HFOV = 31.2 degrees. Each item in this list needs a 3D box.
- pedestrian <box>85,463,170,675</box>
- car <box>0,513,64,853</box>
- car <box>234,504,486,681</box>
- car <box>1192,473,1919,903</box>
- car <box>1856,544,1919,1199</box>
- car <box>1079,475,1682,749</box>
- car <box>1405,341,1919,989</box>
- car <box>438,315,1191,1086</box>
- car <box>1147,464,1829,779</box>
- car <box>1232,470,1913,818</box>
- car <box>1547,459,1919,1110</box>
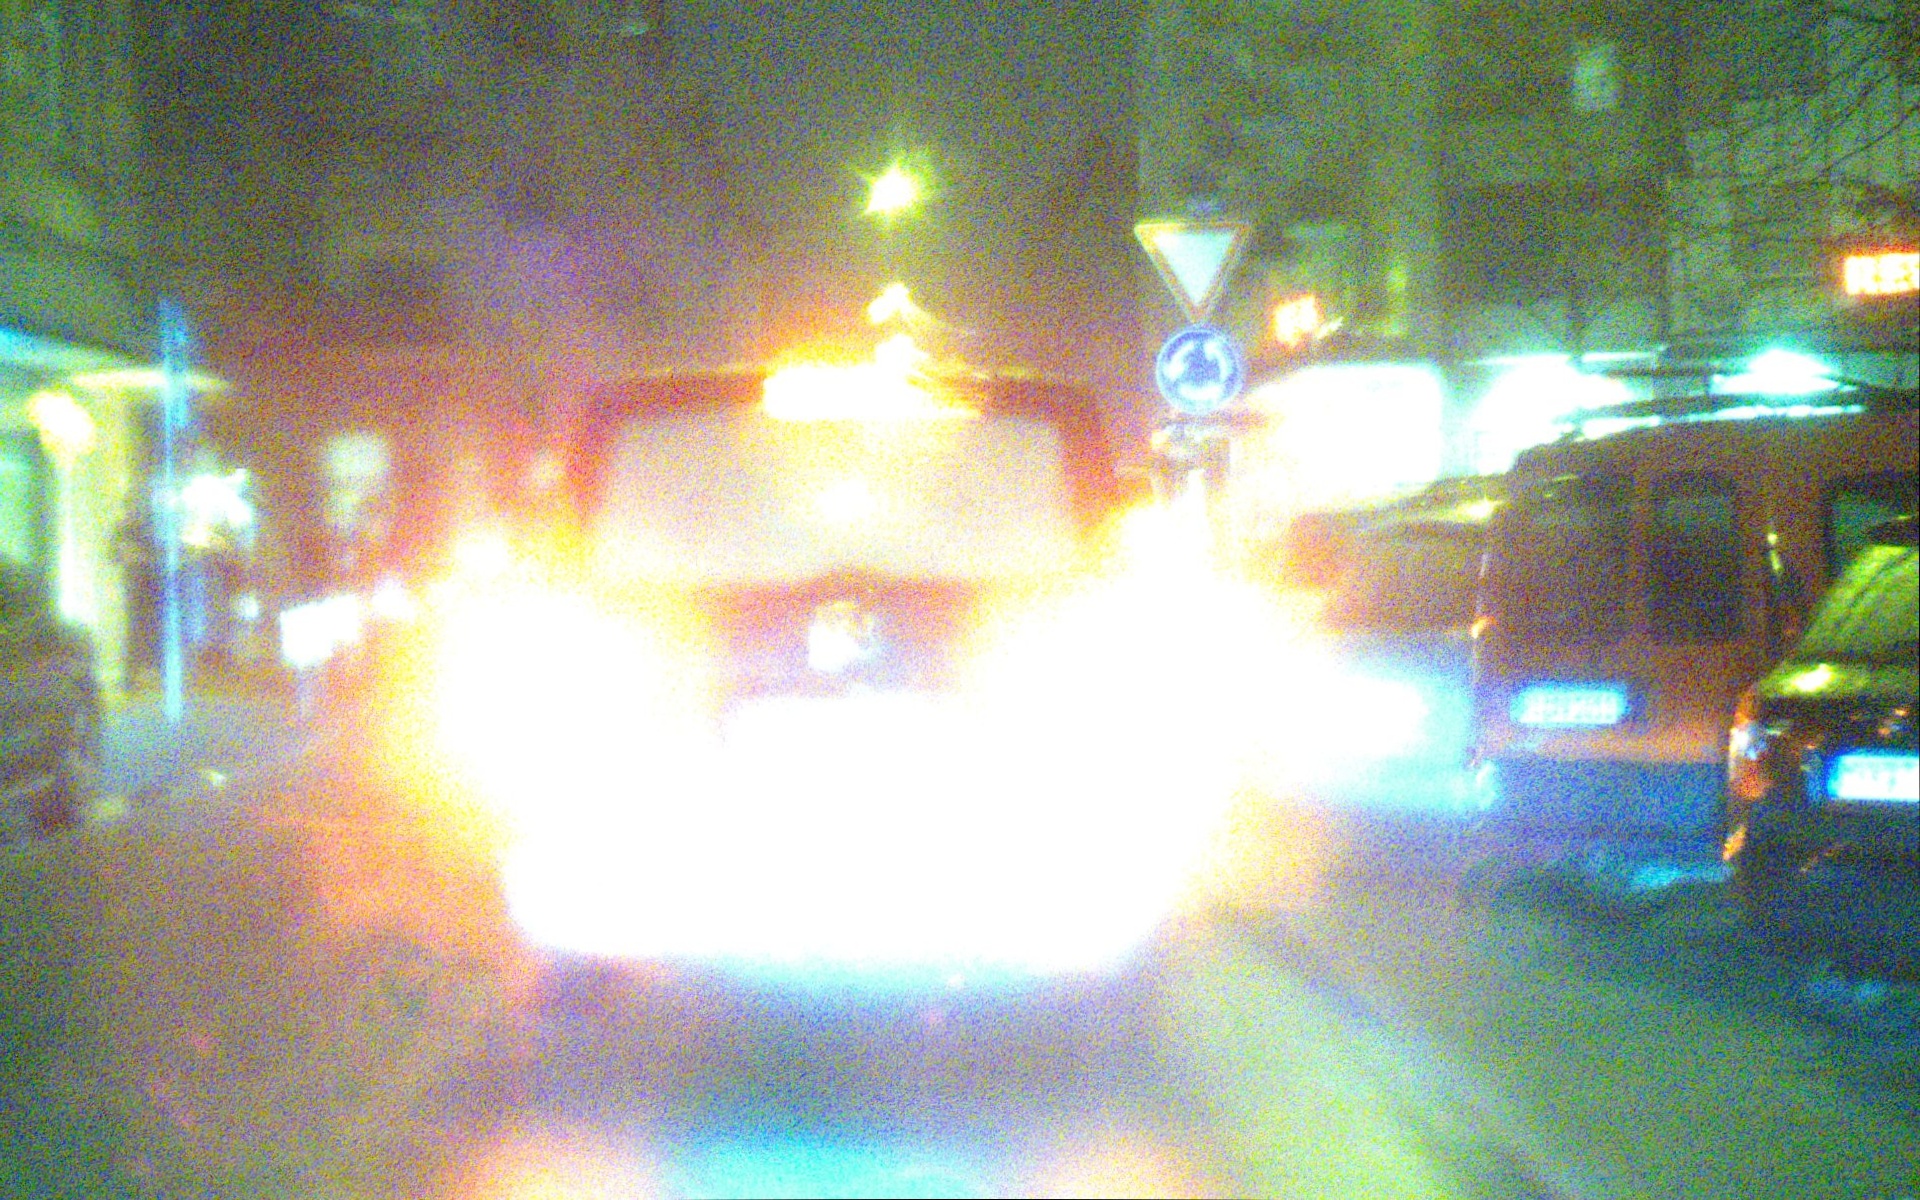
[{"bbox_3d":[-7.516,-0.285,31.052,0.660,1.897,0.539,0,1,-5],"label":"pedestrian"},{"bbox_3d":[-5.255,0.392,15.163,1.812,1.552,4.077,0,1,-4],"label":"car"},{"bbox_3d":[-5.987,-0.113,34.714,1.883,1.679,4.000,0,1,-1],"label":"car"},{"bbox_3d":[2.925,0.302,15.081,3.555,1.585,1.605,-4,1,-37],"label":"car"},{"bbox_3d":[3.519,0.526,6.336,3.555,1.448,1.672,-4,1,-36],"label":"car"},{"bbox_3d":[2.968,0.032,23.962,3.988,1.755,1.880,-1,1,-37],"label":"car"},{"bbox_3d":[3.477,0.119,12.264,3.555,1.984,1.605,-4,1,-37],"label":"car"},{"bbox_3d":[-0.414,0.248,11.197,1.993,2.043,4.000,-1,1,-1],"label":"car"},{"bbox_3d":[3.281,0.072,21.076,3.988,1.755,1.880,-1,2,-37],"label":"car"},{"bbox_3d":[3.382,0.179,18.775,3.559,1.727,1.689,-1,1,-37],"label":"car"},{"bbox_3d":[3.793,0.335,9.770,3.988,1.582,1.880,-5,2,-36],"label":"car"}]
